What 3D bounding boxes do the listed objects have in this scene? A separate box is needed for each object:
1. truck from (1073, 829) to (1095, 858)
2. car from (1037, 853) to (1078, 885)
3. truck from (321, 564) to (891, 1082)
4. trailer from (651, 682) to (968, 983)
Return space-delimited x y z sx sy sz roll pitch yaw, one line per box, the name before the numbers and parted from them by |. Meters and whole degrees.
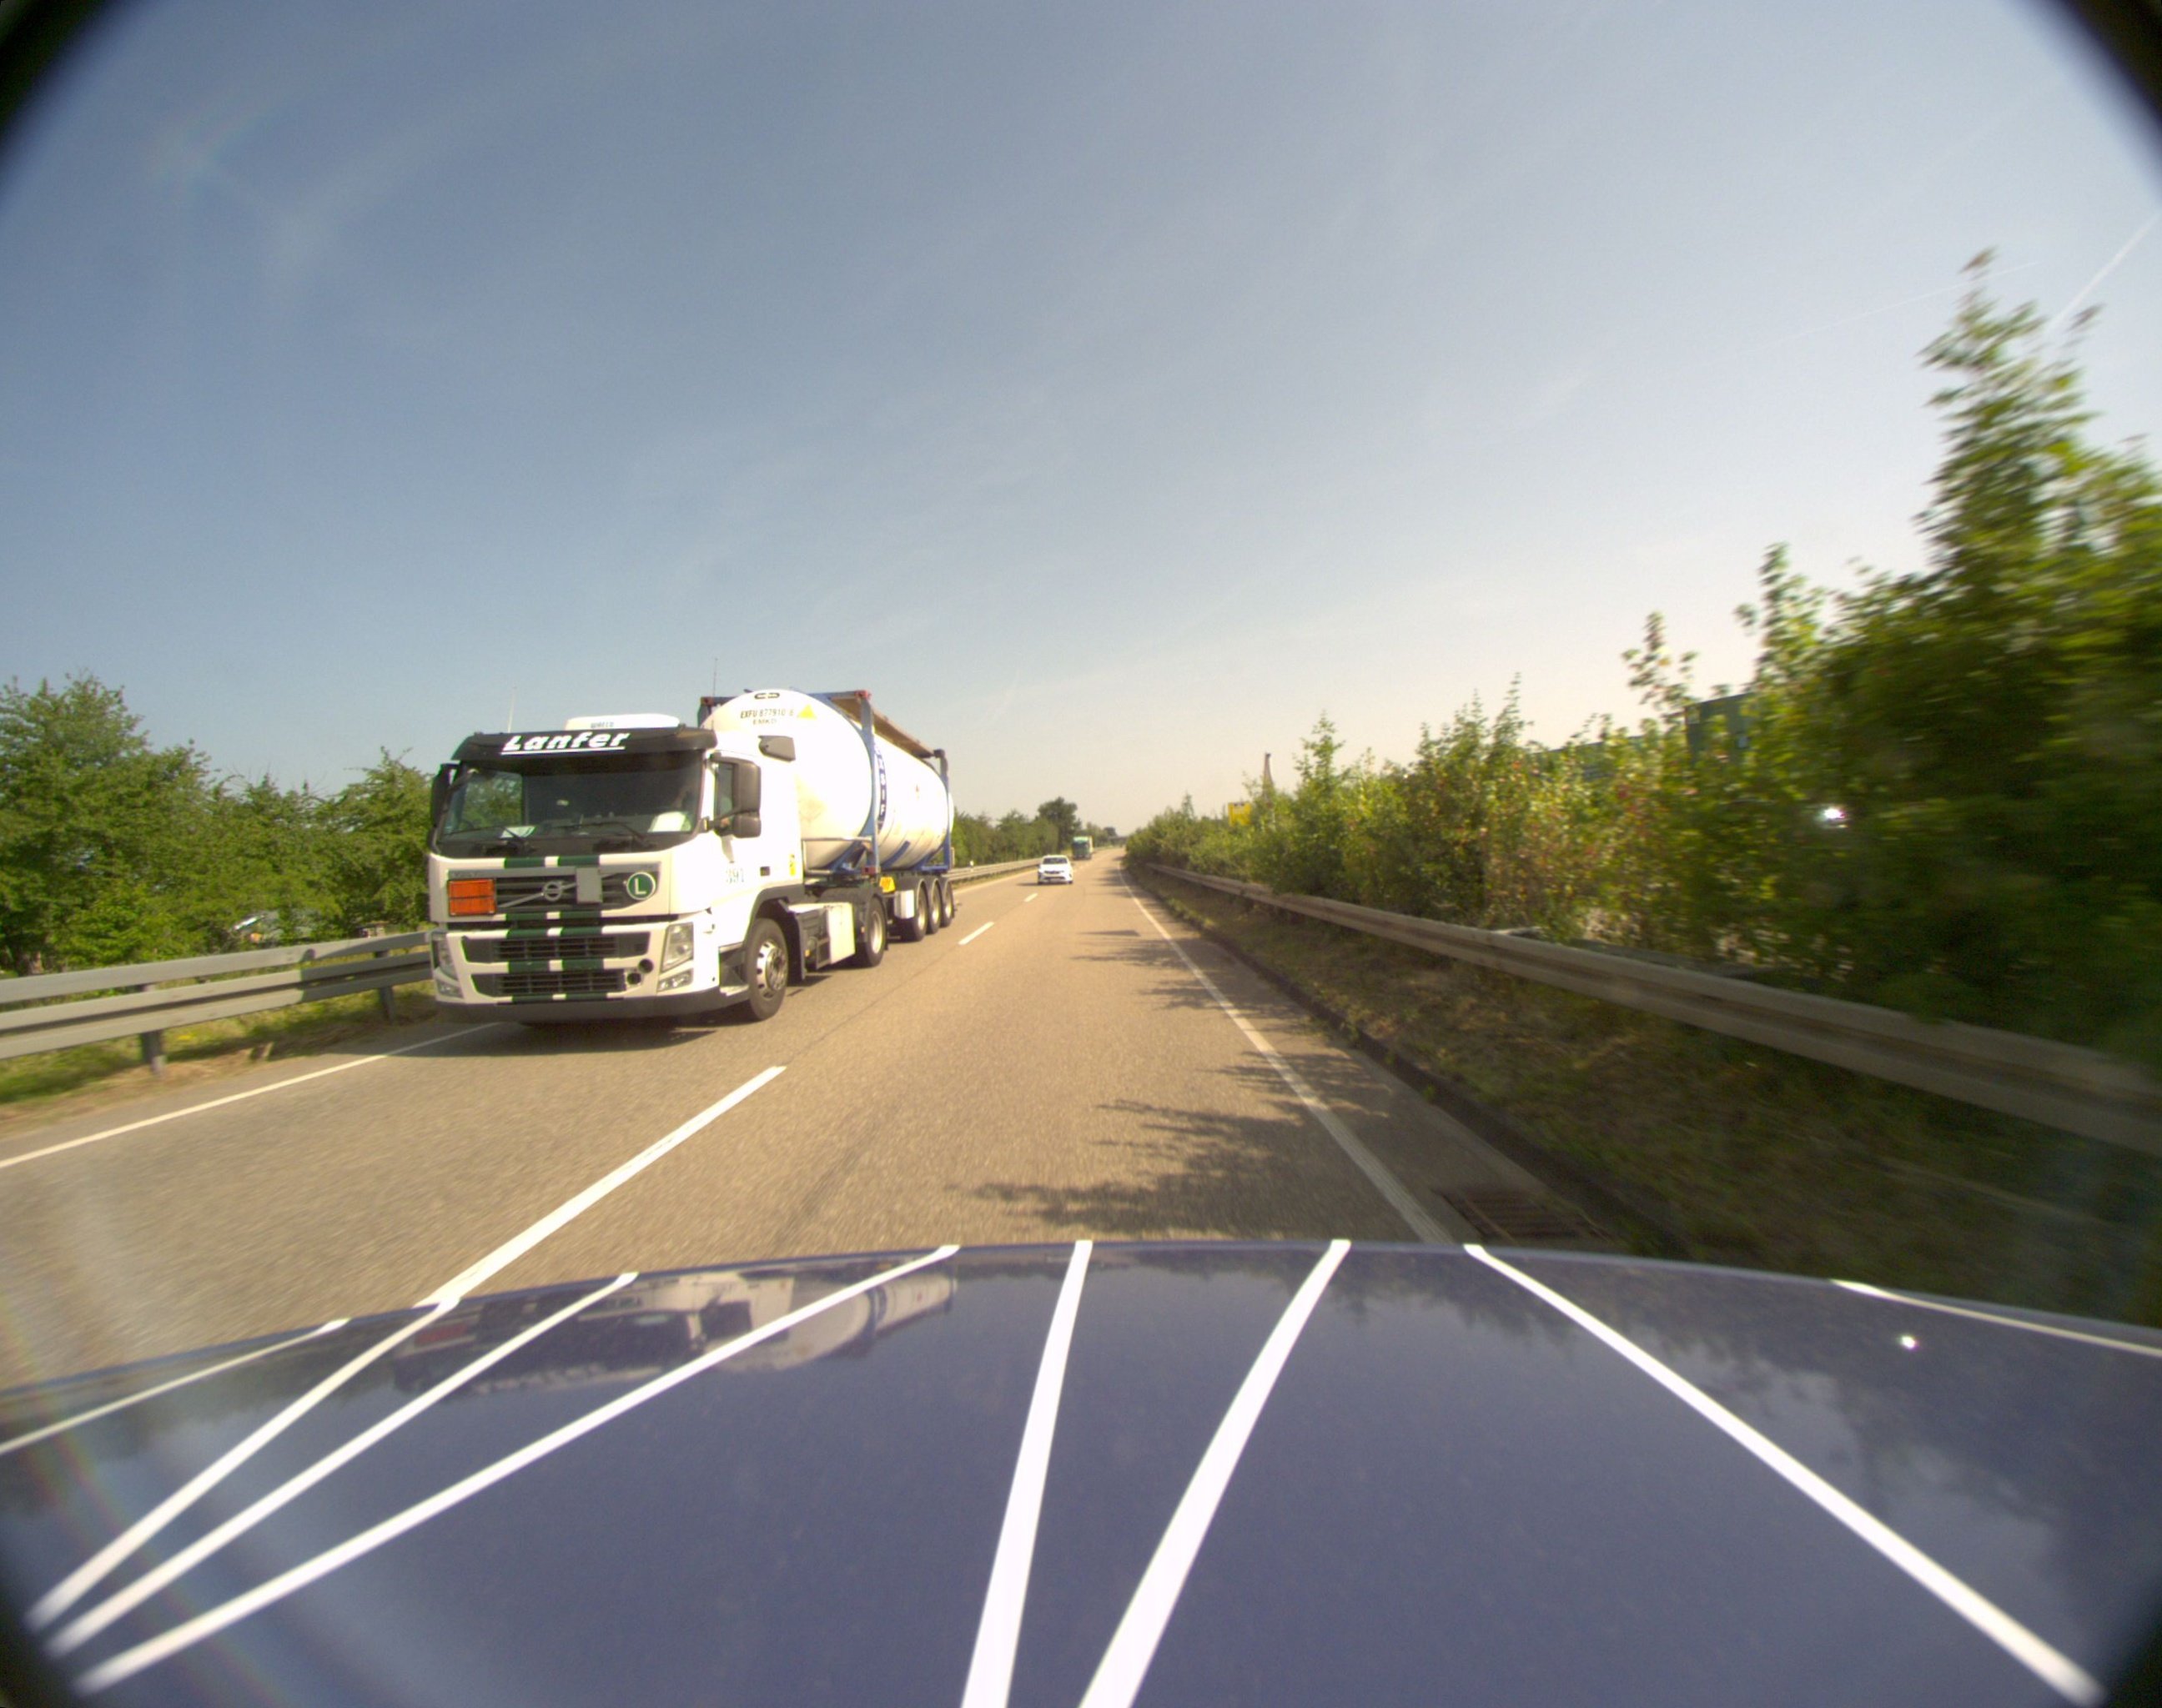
truck | 0.530 -1.550 115.533 2.548 4.136 8.442 -2 1 5
car | -1.149 0.720 38.842 1.789 1.427 4.000 -2 0 3
truck | -4.376 -0.240 8.699 2.779 3.938 5.627 -2 1 1
trailer | -4.259 -0.299 14.321 2.763 3.968 8.186 -2 0 1
